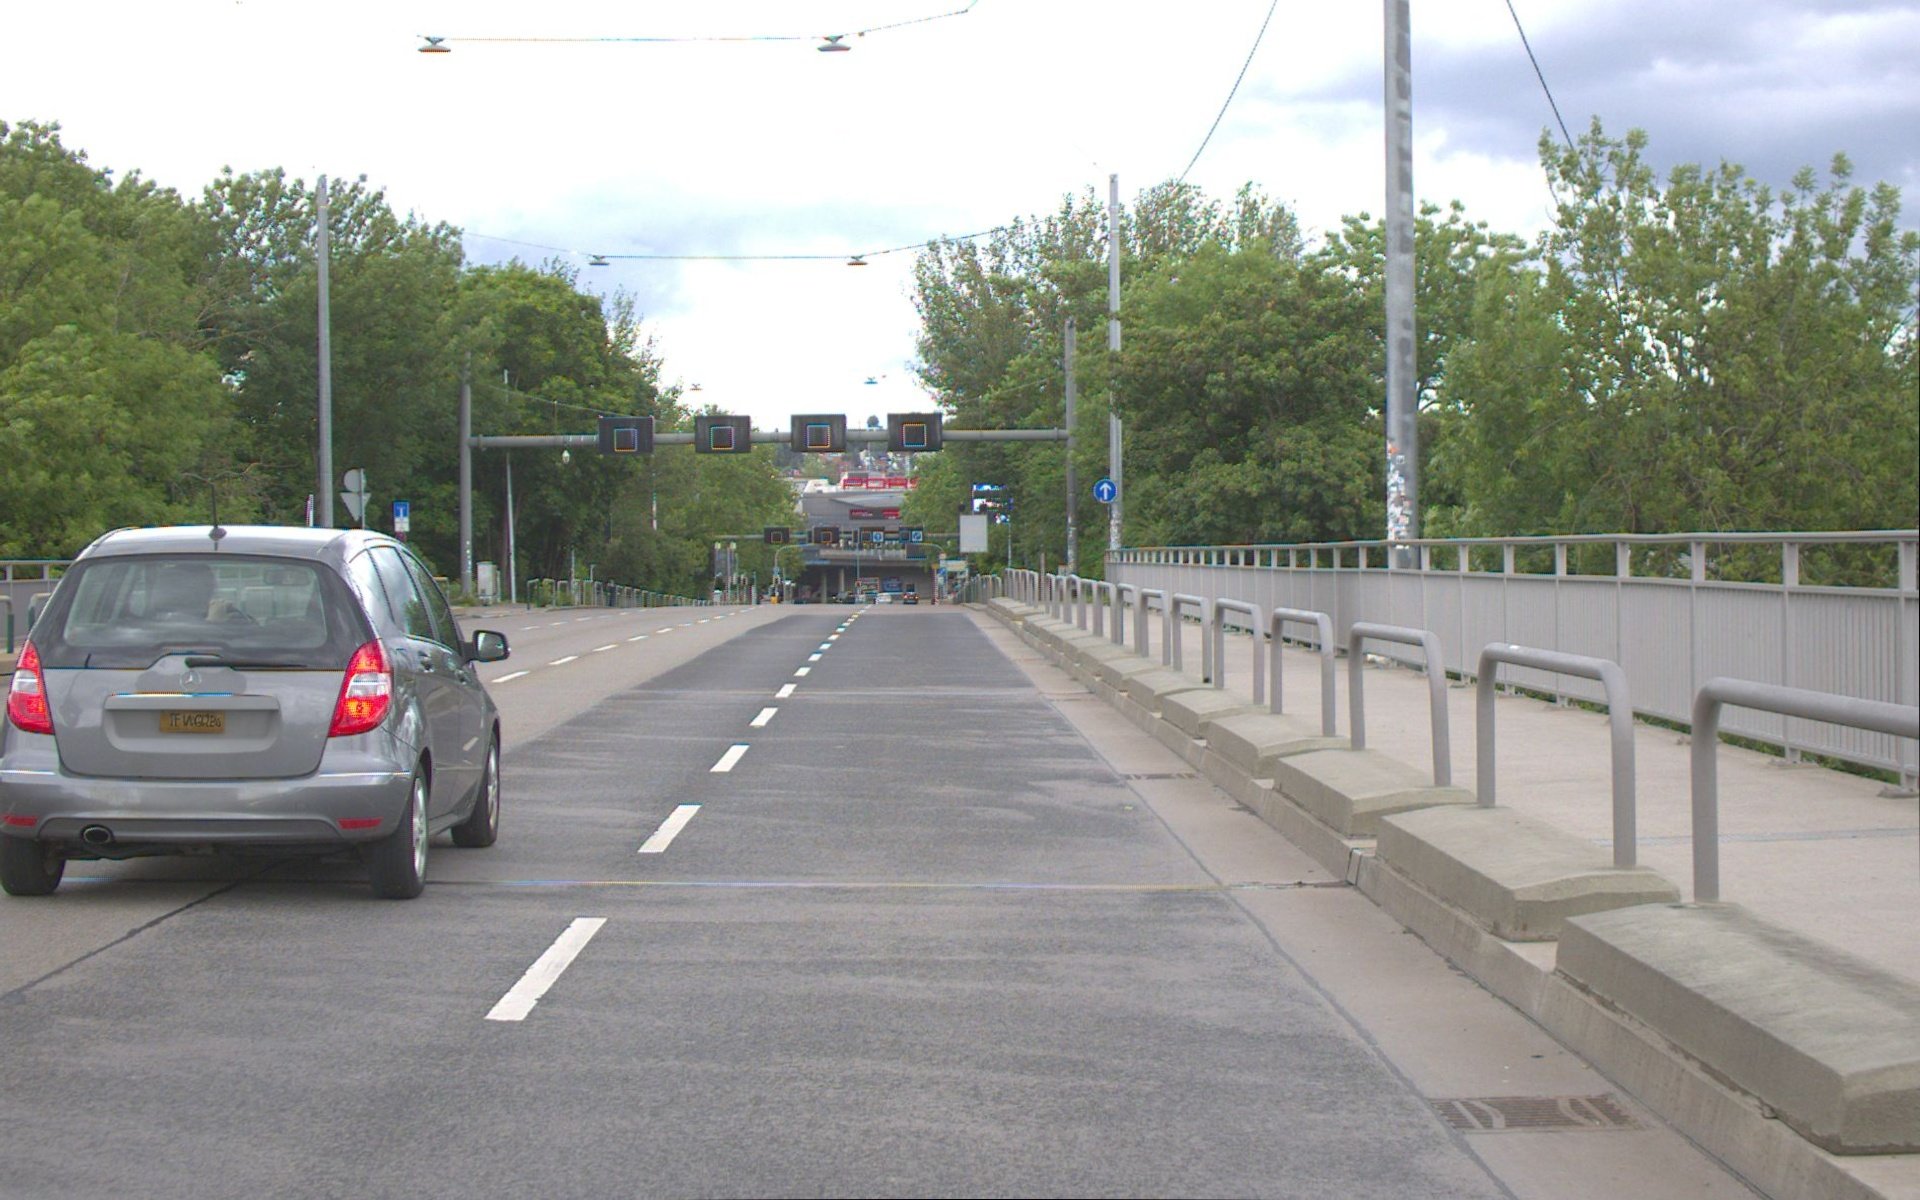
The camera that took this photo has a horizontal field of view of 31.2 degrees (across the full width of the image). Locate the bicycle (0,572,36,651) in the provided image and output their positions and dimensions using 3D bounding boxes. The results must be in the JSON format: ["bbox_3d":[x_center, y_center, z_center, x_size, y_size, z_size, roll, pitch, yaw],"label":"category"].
[{"bbox_3d":[-13.956,0.160,46.305,2.790,1.047,0.921,0,1,-5],"label":"bicycle"}]

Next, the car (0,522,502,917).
[{"bbox_3d":[-3.165,0.432,15.547,1.745,1.545,3.871,0,1,-1],"label":"car"}]
